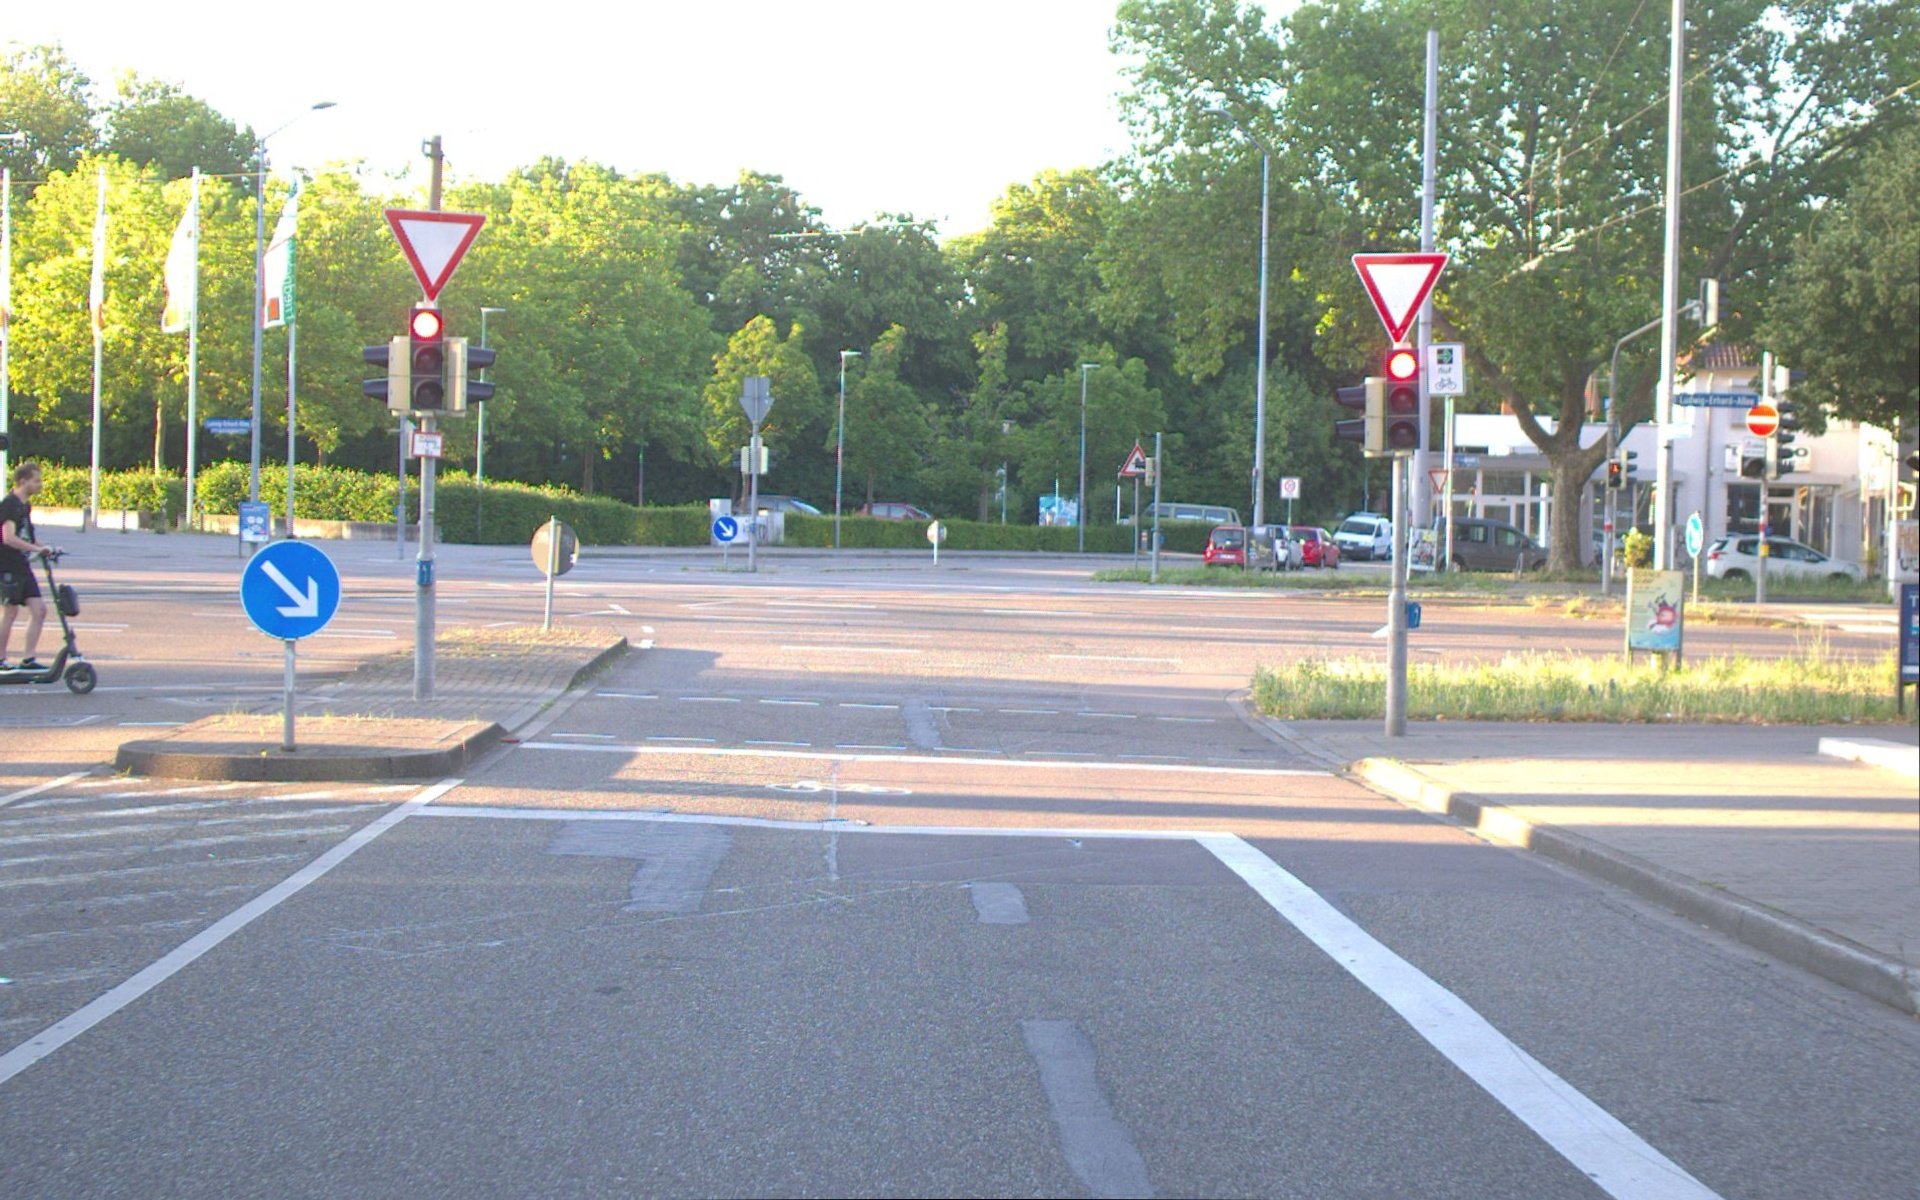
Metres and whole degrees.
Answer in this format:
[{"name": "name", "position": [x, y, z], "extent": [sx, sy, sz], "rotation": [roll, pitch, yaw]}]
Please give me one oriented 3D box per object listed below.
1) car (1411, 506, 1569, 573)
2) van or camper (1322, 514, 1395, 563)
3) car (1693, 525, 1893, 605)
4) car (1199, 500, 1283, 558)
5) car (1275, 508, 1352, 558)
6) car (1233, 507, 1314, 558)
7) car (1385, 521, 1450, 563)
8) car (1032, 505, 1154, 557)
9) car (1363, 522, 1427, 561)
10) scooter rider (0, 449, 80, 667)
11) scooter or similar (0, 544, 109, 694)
[{"name": "car", "position": [15.772, -1.815, 102.506], "extent": [4.468, 1.810, 1.945], "rotation": [2, 2, 5]}, {"name": "van or camper", "position": [16.739, -2.583, 144.229], "extent": [1.627, 1.975, 3.801], "rotation": [3, 3, 29]}, {"name": "car", "position": [20.740, -0.878, 85.692], "extent": [4.467, 1.810, 1.945], "rotation": [1, 2, 1]}, {"name": "car", "position": [8.934, -2.263, 109.262], "extent": [1.499, 1.754, 3.398], "rotation": [3, 3, 26]}, {"name": "car", "position": [12.009, -2.279, 116.600], "extent": [1.499, 1.600, 3.398], "rotation": [3, 3, 26]}, {"name": "car", "position": [10.322, -2.240, 112.936], "extent": [1.499, 1.600, 3.398], "rotation": [3, 3, 26]}, {"name": "car", "position": [17.124, -2.189, 128.580], "extent": [1.499, 1.472, 3.080], "rotation": [3, 3, 26]}, {"name": "car", "position": [5.274, -2.738, 136.089], "extent": [4.685, 1.862, 2.013], "rotation": [2, 2, 6]}, {"name": "car", "position": [18.734, -2.530, 147.963], "extent": [1.499, 1.600, 3.398], "rotation": [3, 3, 29]}, {"name": "scooter rider", "position": [-7.682, -0.354, 28.409], "extent": [0.705, 1.776, 0.443], "rotation": [1, 2, -4]}, {"name": "scooter or similar", "position": [-7.705, 0.150, 28.421], "extent": [1.213, 1.196, 0.503], "rotation": [1, 2, -4]}]
